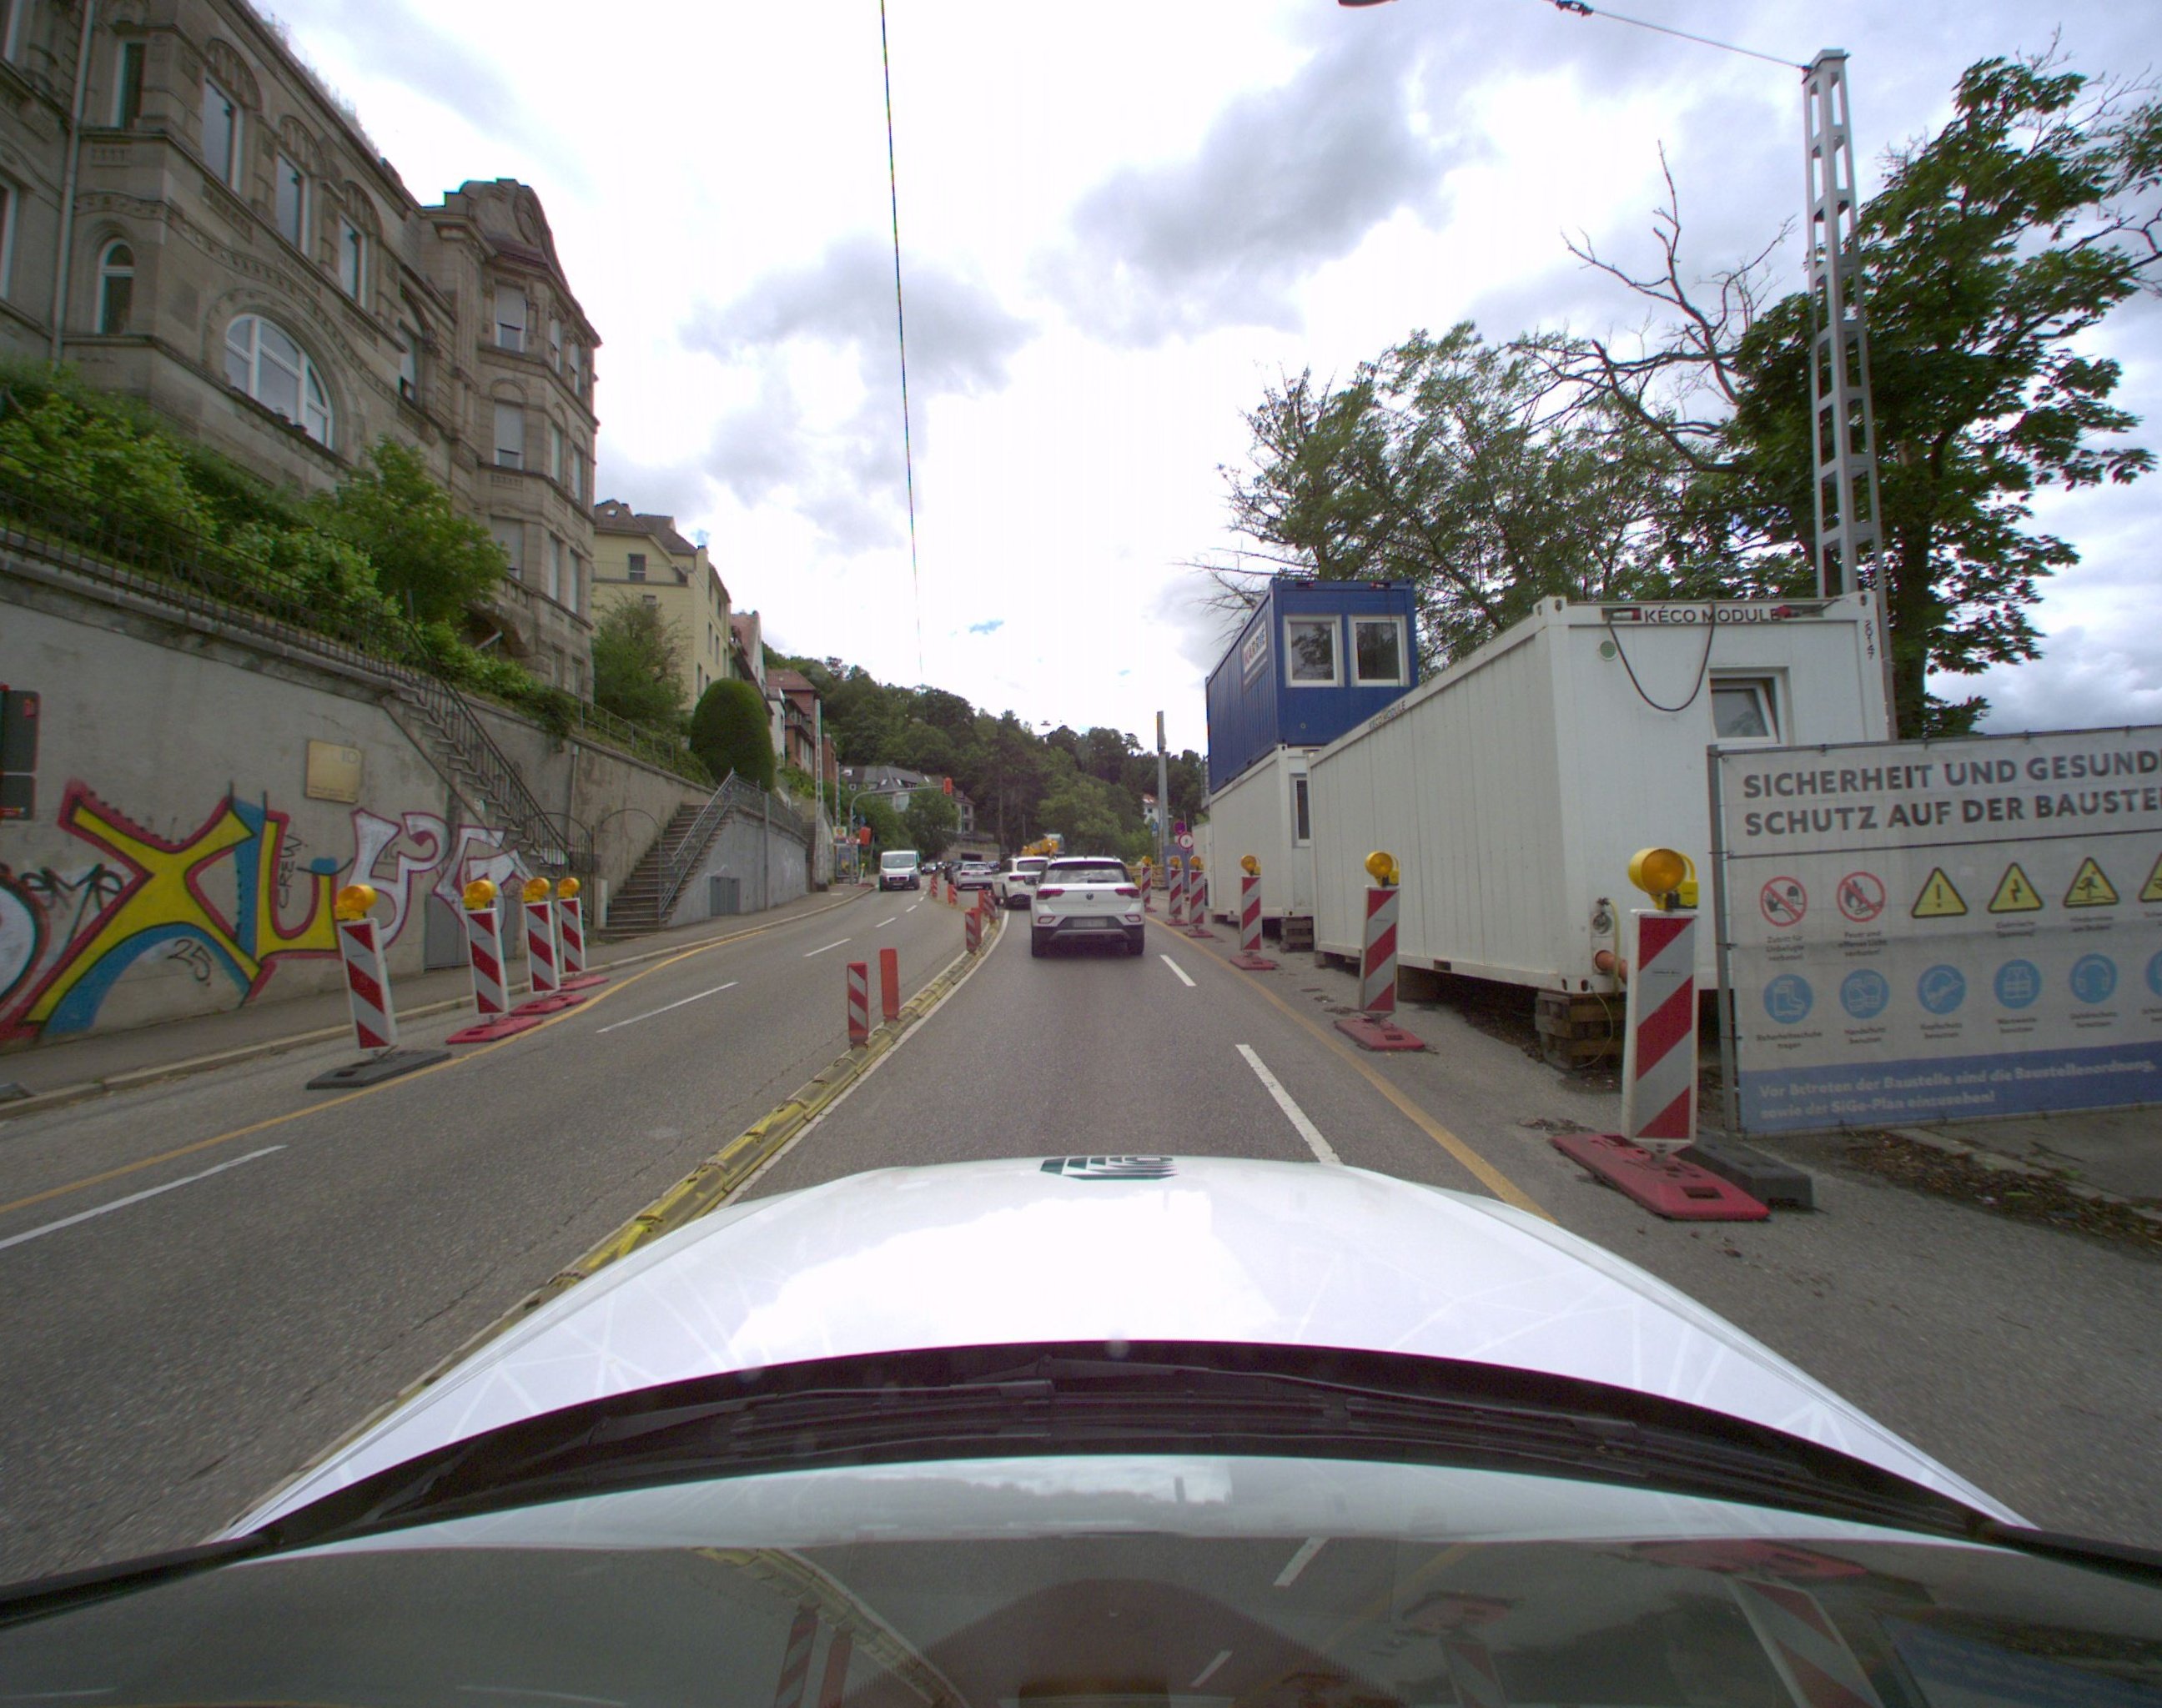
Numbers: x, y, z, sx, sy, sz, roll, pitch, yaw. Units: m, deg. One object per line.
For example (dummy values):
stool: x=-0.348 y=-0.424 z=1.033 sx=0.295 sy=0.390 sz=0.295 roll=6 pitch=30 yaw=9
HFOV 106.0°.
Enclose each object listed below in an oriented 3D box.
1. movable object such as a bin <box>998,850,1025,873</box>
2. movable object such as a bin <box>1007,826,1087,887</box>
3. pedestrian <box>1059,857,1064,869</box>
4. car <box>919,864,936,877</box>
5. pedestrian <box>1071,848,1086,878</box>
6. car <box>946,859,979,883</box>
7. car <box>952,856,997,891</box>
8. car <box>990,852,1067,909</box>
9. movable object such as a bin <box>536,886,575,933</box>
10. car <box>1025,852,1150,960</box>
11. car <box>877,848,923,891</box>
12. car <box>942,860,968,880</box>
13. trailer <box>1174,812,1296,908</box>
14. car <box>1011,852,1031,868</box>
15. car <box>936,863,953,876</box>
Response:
movable object such as a bin: x=-8.300 y=0.866 z=97.884 sx=2.200 sy=2.663 sz=4.953 roll=0 pitch=0 yaw=6
movable object such as a bin: x=-2.044 y=0.142 z=45.189 sx=2.816 sy=3.071 sz=7.783 roll=0 pitch=-1 yaw=-15
pedestrian: x=-2.950 y=1.409 z=125.672 sx=0.688 sy=1.906 sz=0.825 roll=-1 pitch=0 yaw=-1
car: x=-17.331 y=1.846 z=92.159 sx=1.670 sy=1.430 sz=3.578 roll=-2 pitch=0 yaw=-7
pedestrian: x=-0.149 y=0.549 z=49.148 sx=0.692 sy=1.795 sz=0.535 roll=-1 pitch=0 yaw=-24
car: x=-7.997 y=1.143 z=54.691 sx=1.797 sy=1.510 sz=3.981 roll=-2 pitch=0 yaw=-14
car: x=-5.593 y=0.977 z=42.389 sx=1.813 sy=1.663 sz=3.980 roll=-2 pitch=0 yaw=-15
car: x=-1.800 y=0.826 z=26.665 sx=1.812 sy=1.663 sz=3.981 roll=-2 pitch=0 yaw=-14
movable object such as a bin: x=-10.700 y=1.130 z=16.599 sx=0.452 sy=0.911 sz=0.507 roll=-1 pitch=0 yaw=-2
car: x=0.045 y=0.775 z=14.014 sx=1.805 sy=1.531 sz=3.997 roll=-2 pitch=0 yaw=-2
car: x=-10.033 y=0.819 z=45.470 sx=2.066 sy=2.187 sz=4.947 roll=-3 pitch=0 yaw=-9
car: x=-10.342 y=1.298 z=66.485 sx=1.796 sy=1.510 sz=3.983 roll=-2 pitch=0 yaw=-13
trailer: x=4.531 y=0.178 z=24.897 sx=2.105 sy=2.550 sz=5.106 roll=-3 pitch=0 yaw=-7
car: x=-6.039 y=0.585 z=81.257 sx=1.793 sy=1.510 sz=3.990 roll=-1 pitch=-1 yaw=-7
car: x=-17.688 y=2.019 z=105.575 sx=1.838 sy=1.600 sz=4.256 roll=-1 pitch=0 yaw=-5
